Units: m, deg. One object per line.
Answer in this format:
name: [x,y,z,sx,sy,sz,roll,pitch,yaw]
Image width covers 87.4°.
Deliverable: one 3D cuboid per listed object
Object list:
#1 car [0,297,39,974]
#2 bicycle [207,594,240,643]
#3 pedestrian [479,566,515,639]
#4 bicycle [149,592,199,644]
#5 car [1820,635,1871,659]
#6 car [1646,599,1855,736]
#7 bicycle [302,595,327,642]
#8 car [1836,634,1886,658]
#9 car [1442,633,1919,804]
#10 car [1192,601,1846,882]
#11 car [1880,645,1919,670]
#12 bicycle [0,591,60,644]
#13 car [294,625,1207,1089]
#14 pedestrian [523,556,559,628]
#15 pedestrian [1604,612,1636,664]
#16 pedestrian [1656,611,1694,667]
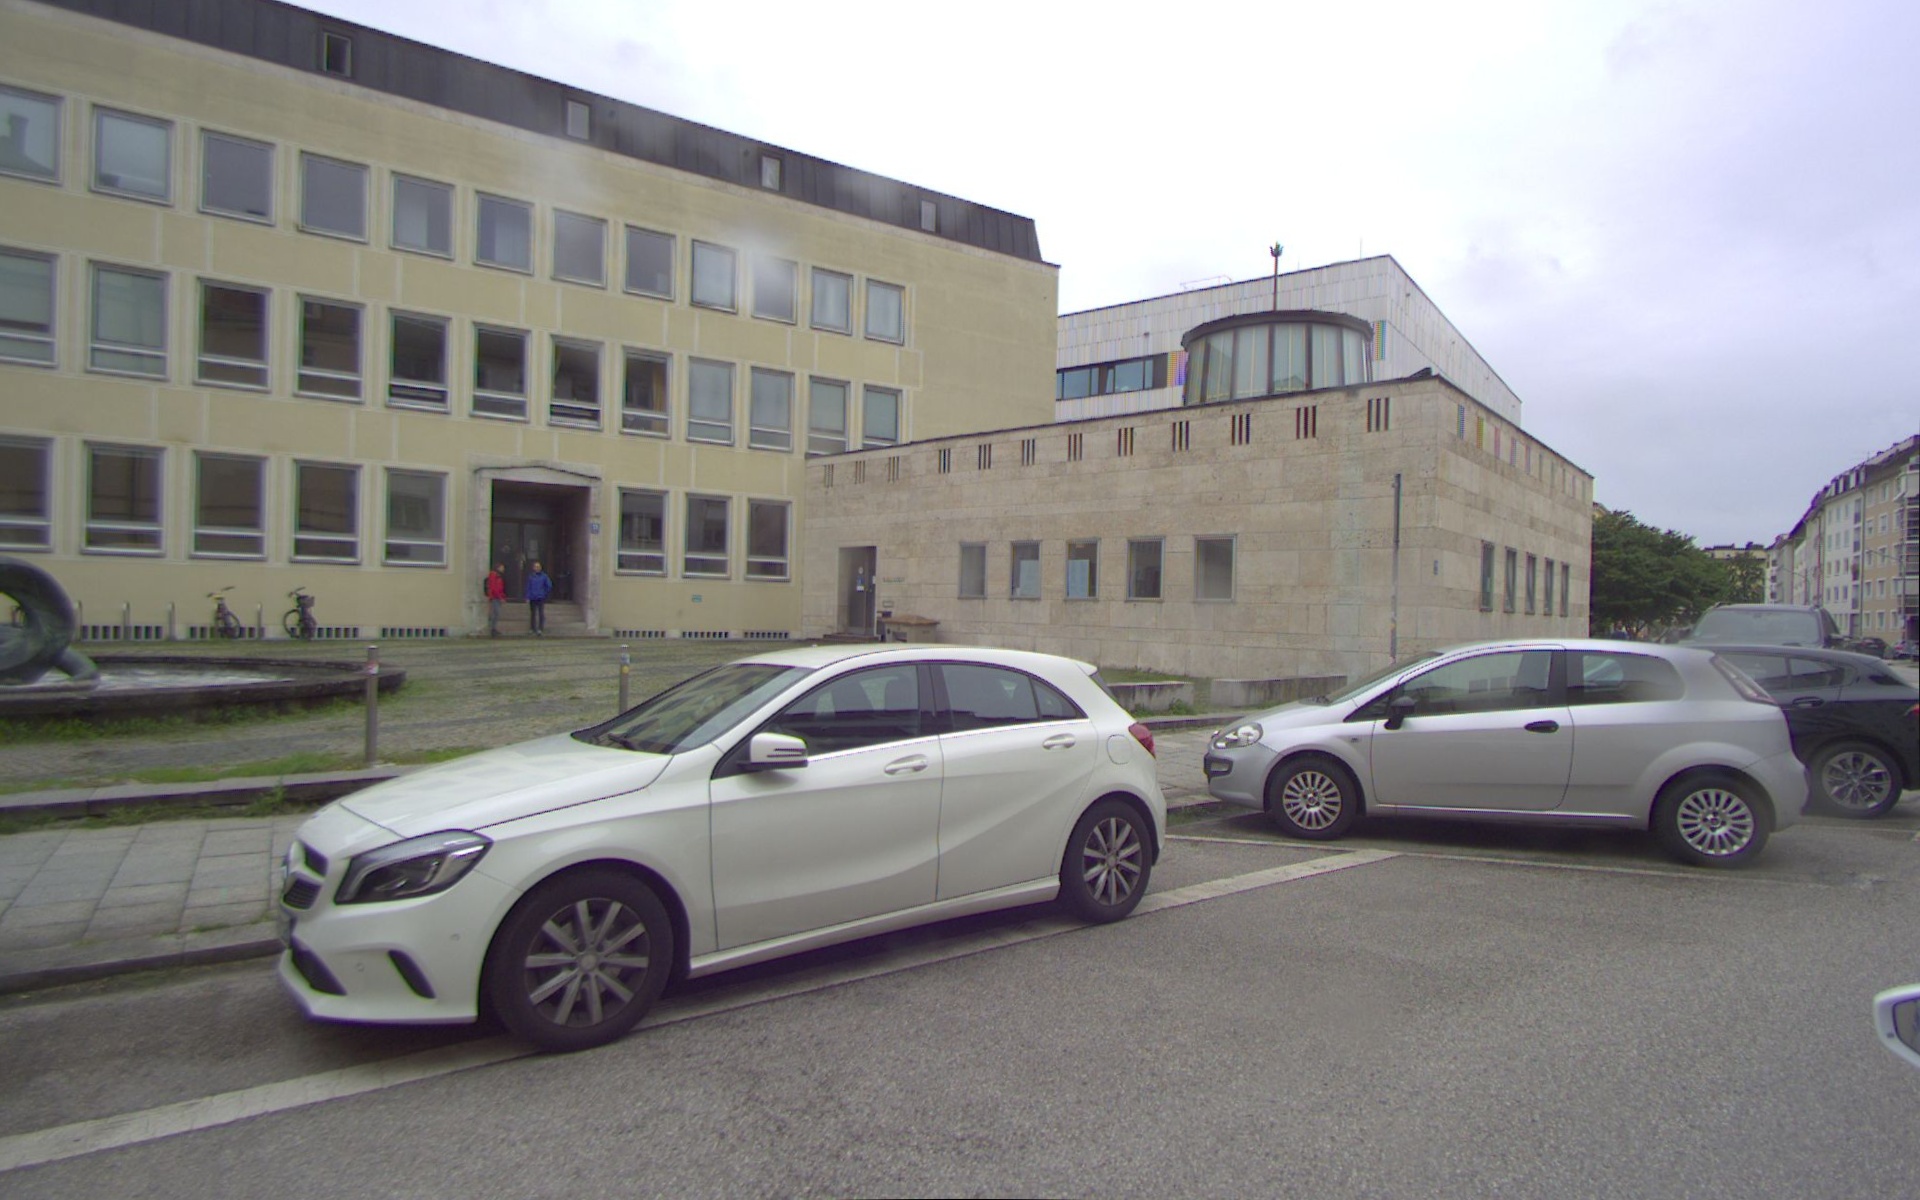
car: [-5.948,0.071,1.657,6.143,2.608,2.132,2,-2,-32]
bicycle: [-15.605,0.371,21.309,0.433,0.929,1.889,2,1,-33]
pedestrian: [-11.373,0.062,24.673,0.641,1.768,0.709,1,2,-37]
bicycle: [-16.274,0.356,20.835,0.526,0.992,1.869,2,1,-30]
car: [72.363,3.809,82.161,1.934,1.623,4.664,3,1,27]
car: [12.440,0.937,15.677,4.783,1.795,1.973,1,0,-45]
bicycle: [-14.395,0.399,22.382,0.433,0.929,1.889,2,1,-33]
car: [69.813,3.530,77.884,1.802,1.623,4.260,3,1,27]
car: [6.839,1.014,9.480,3.928,1.391,1.750,-1,-2,19]
car: [3.924,0.879,7.712,3.906,1.550,1.674,3,1,22]
car: [64.702,3.920,68.564,1.897,1.532,4.382,3,0,31]
bicycle: [-18.291,0.325,19.715,0.526,0.953,1.869,2,1,-30]
car: [-0.828,0.881,5.041,4.103,1.405,1.815,2,-4,-37]
pedestrian: [-10.534,-0.206,25.237,0.641,1.768,0.709,1,2,-37]
pedestrian: [21.388,1.236,32.556,0.631,1.623,0.606,3,1,12]
pedestrian: [23.306,1.265,32.755,0.814,1.763,0.787,1,2,-42]
